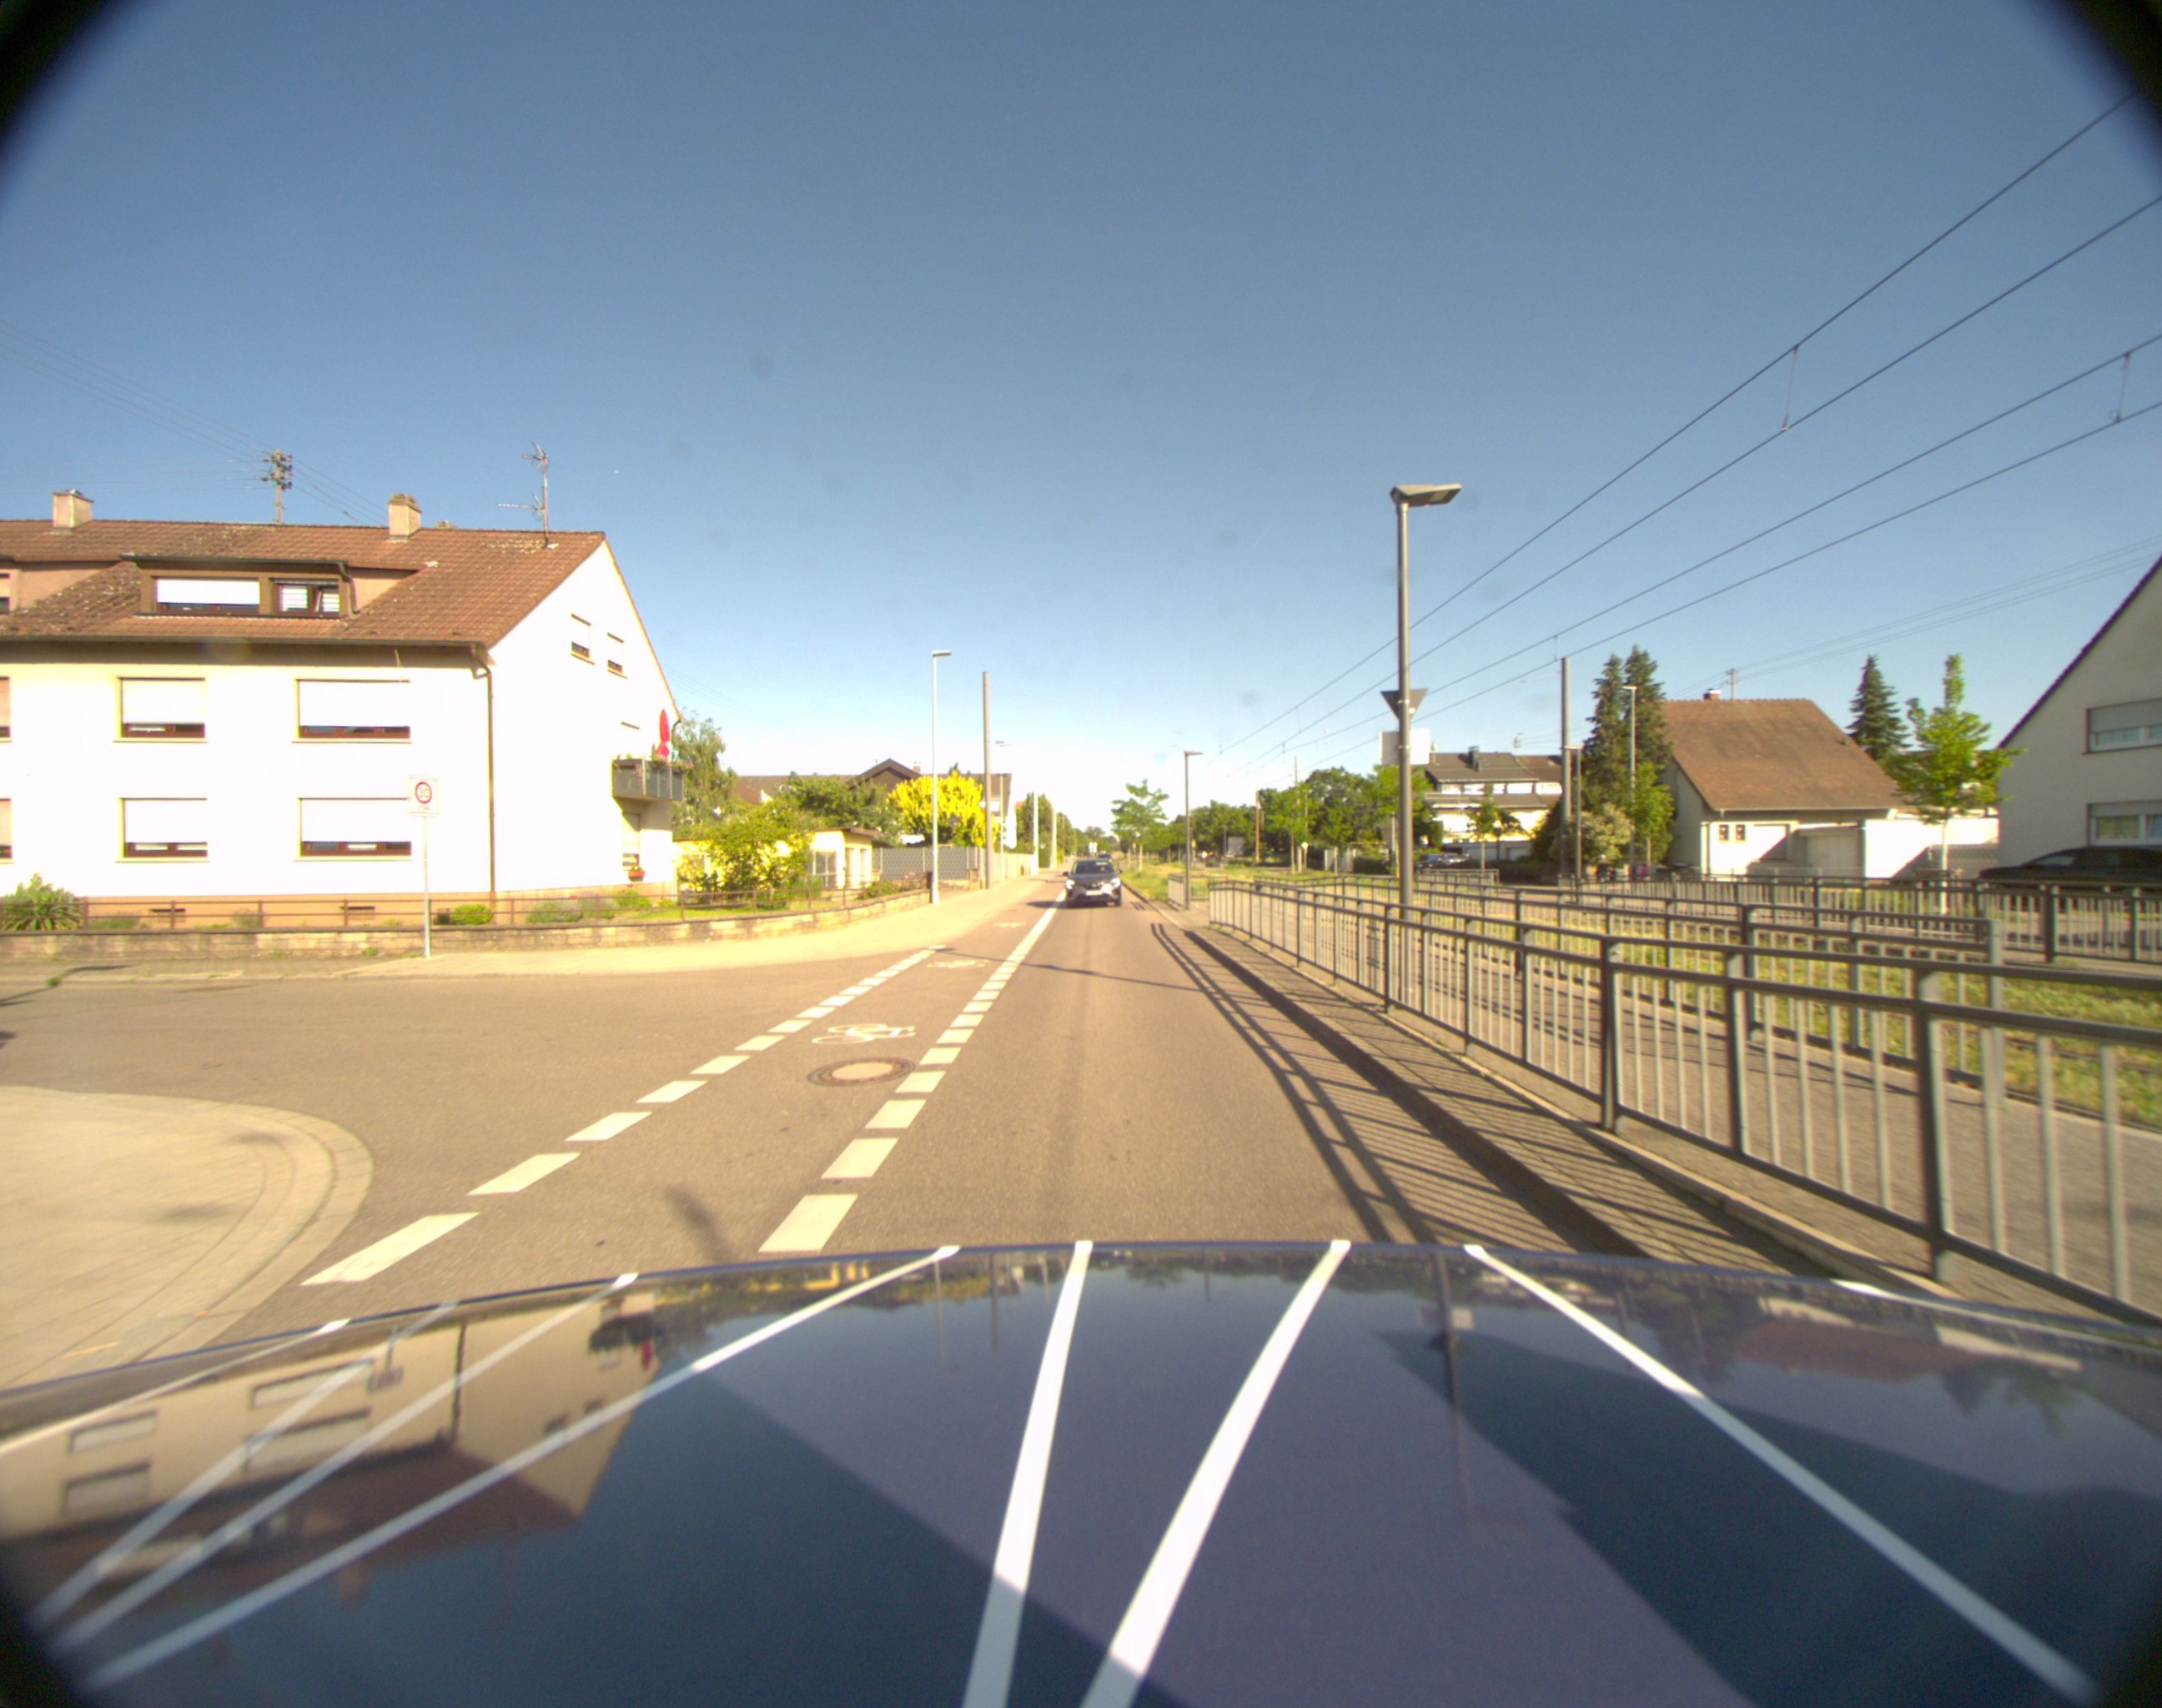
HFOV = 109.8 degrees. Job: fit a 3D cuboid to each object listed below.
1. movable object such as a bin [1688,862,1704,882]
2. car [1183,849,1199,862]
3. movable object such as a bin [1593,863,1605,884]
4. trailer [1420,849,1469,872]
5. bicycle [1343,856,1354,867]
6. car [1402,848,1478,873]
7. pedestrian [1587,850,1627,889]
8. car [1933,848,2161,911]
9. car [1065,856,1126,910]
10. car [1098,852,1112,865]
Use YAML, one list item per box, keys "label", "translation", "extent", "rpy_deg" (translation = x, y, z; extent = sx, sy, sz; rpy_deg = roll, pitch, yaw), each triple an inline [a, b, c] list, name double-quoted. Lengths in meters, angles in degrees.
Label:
- label: "movable object such as a bin"
  translation: [28.336, 0.825, 35.009]
  extent: [0.371, 0.892, 0.452]
  rpy_deg: [-2, 1, -3]
- label: "car"
  translation: [17.610, 0.210, 121.725]
  extent: [1.902, 1.903, 4.702]
  rpy_deg: [0, 0, 2]
- label: "movable object such as a bin"
  translation: [24.148, 0.890, 35.415]
  extent: [0.326, 0.964, 0.350]
  rpy_deg: [-2, 1, -3]
- label: "trailer"
  translation: [26.866, 0.467, 56.190]
  extent: [2.921, 1.638, 1.398]
  rpy_deg: [-1, 1, -2]
- label: "bicycle"
  translation: [24.896, 0.668, 70.824]
  extent: [0.424, 0.936, 1.748]
  rpy_deg: [-2, 1, 1]
- label: "car"
  translation: [25.501, 0.446, 53.998]
  extent: [4.556, 1.724, 2.051]
  rpy_deg: [0, 0, -10]
- label: "pedestrian"
  translation: [22.394, 0.645, 32.368]
  extent: [0.967, 1.631, 1.085]
  rpy_deg: [-1, 1, 1]
- label: "car"
  translation: [26.117, 0.588, 19.869]
  extent: [1.939, 1.441, 5.162]
  rpy_deg: [-1, 0, 1]
- label: "car"
  translation: [0.438, 0.903, 25.604]
  extent: [1.867, 1.614, 3.999]
  rpy_deg: [-1, 0, -1]
- label: "car"
  translation: [3.569, 0.621, 111.695]
  extent: [1.998, 1.824, 4.000]
  rpy_deg: [-2, 1, 2]
